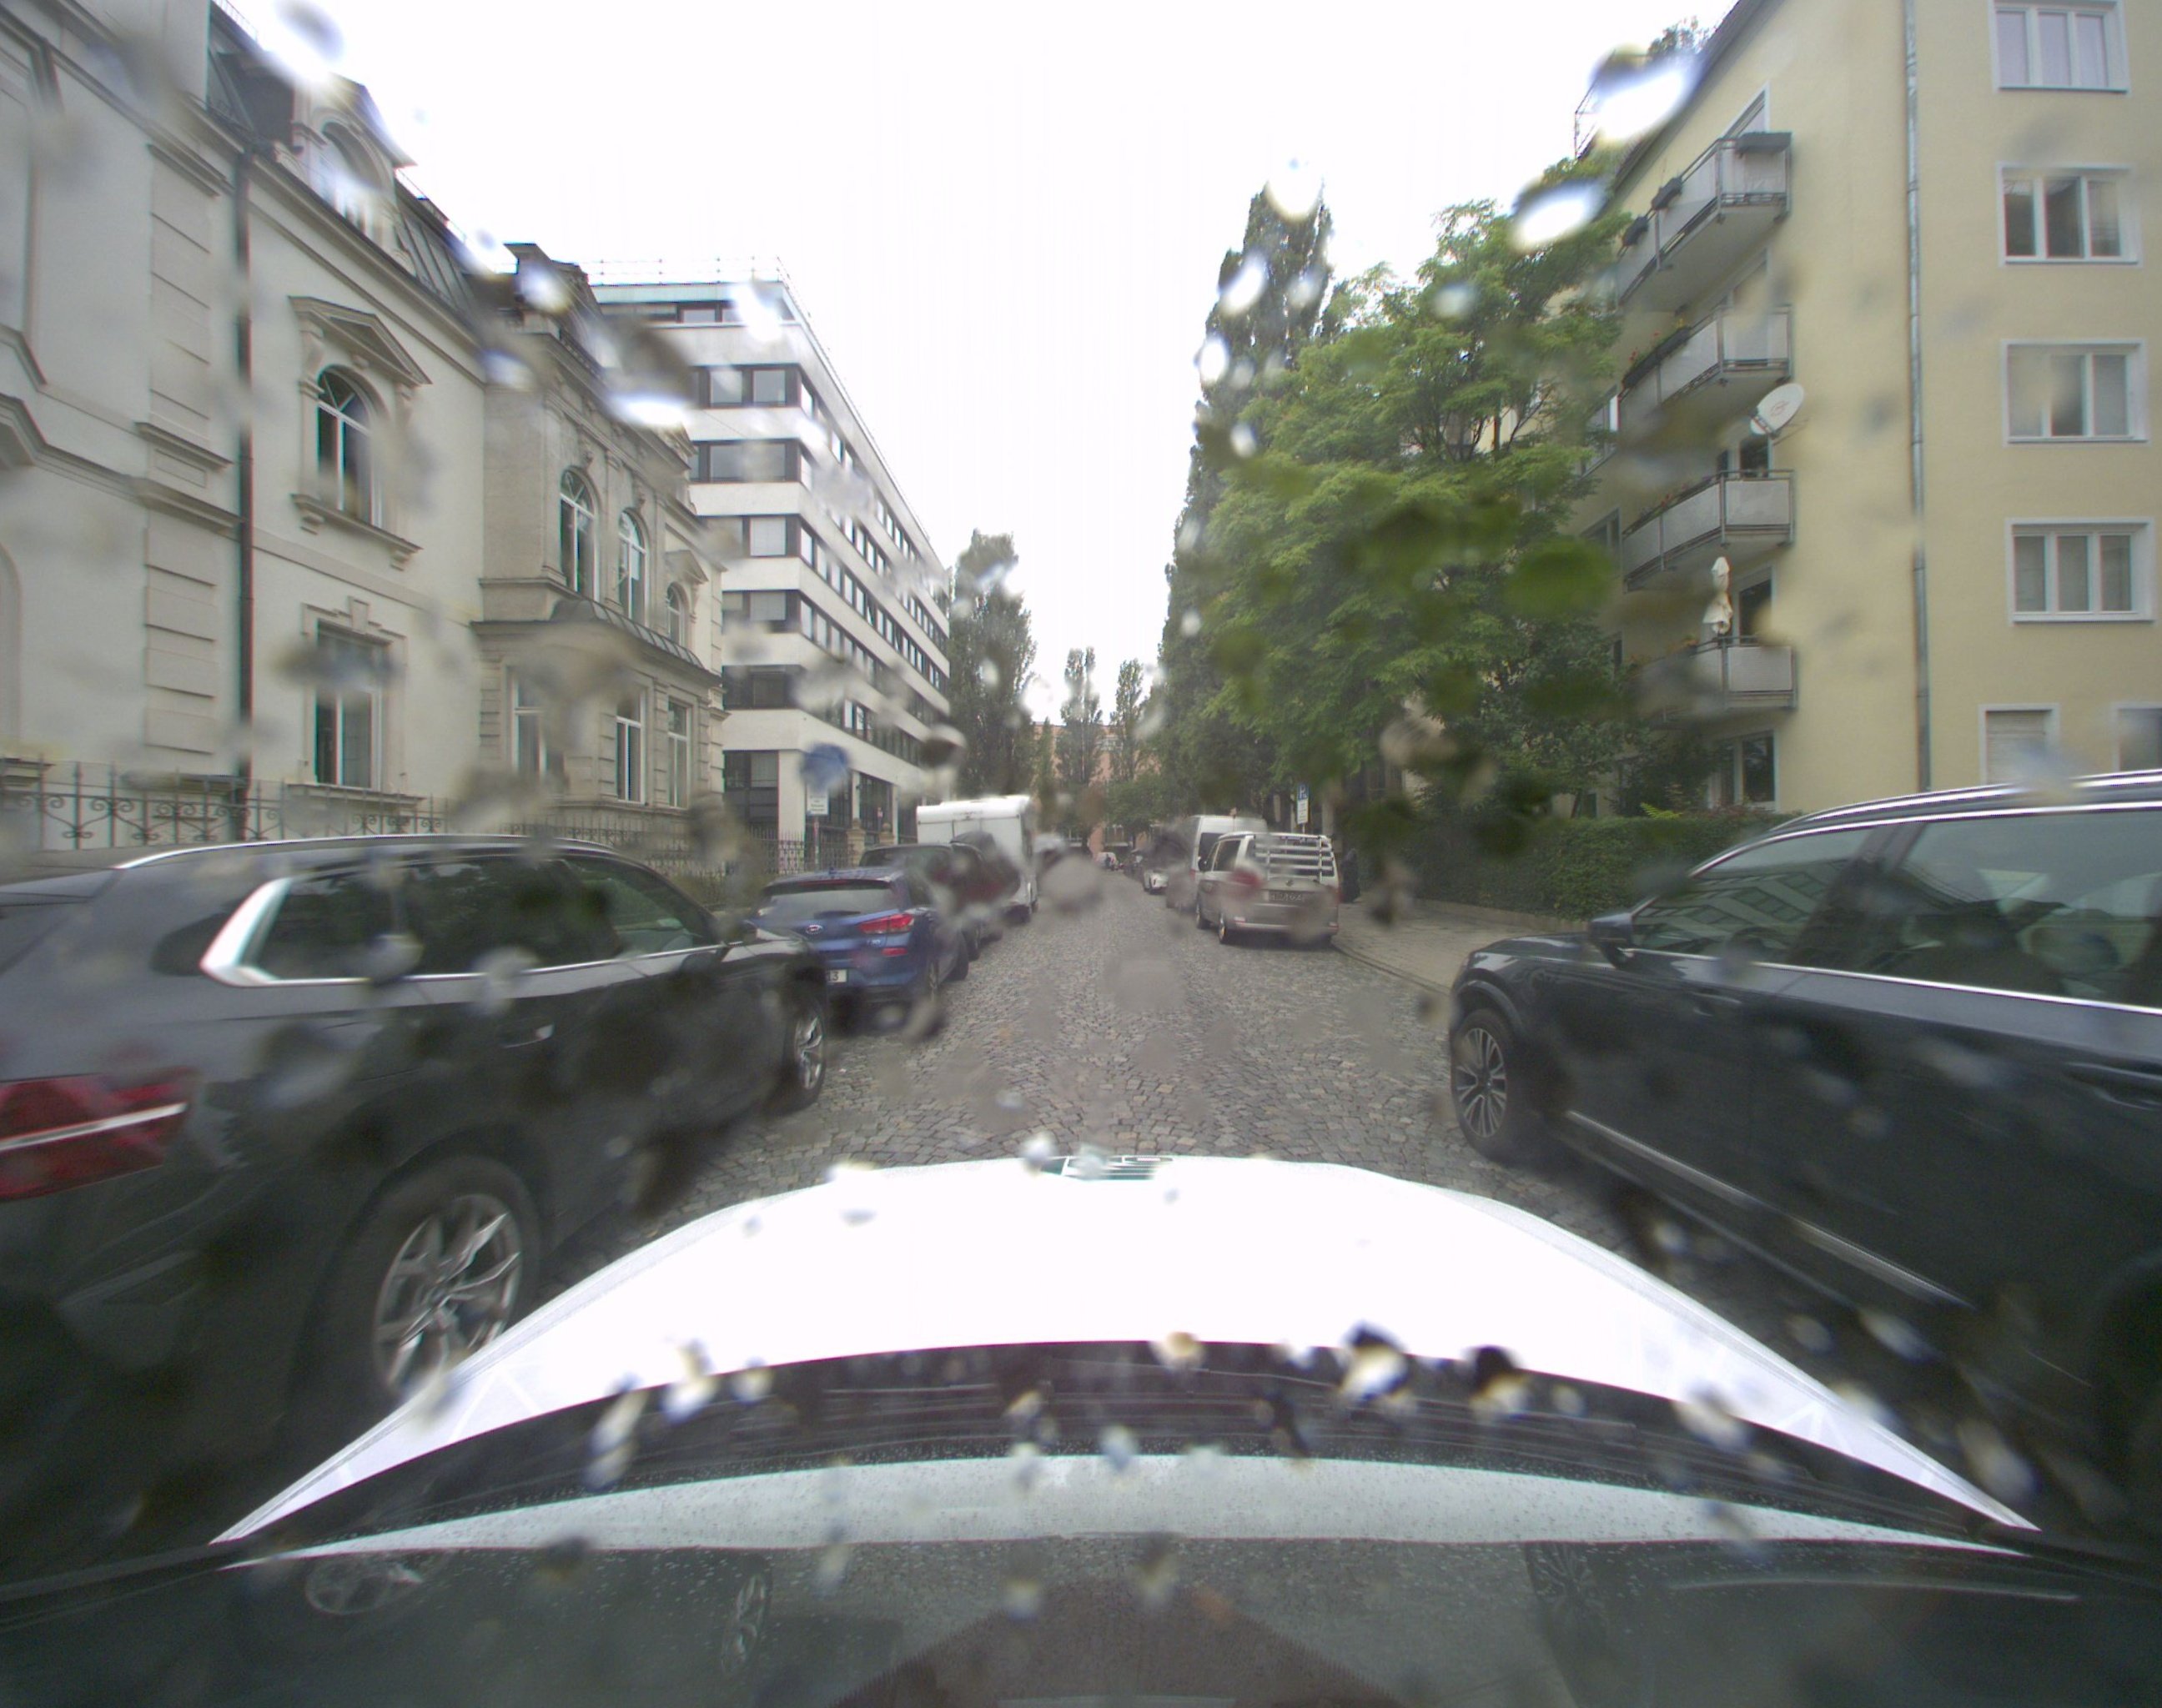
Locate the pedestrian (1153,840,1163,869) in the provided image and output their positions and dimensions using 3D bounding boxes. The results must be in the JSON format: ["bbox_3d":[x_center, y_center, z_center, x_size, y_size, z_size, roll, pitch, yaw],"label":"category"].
[{"bbox_3d":[6.400,0.037,67.869,0.708,2.425,0.814,-2,1,2],"label":"pedestrian"}]

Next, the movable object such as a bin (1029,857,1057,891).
[{"bbox_3d":[-1.571,0.822,33.647,1.060,1.363,1.290,0,-1,1],"label":"movable object such as a bin"}]

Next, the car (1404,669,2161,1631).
[{"bbox_3d":[2.969,0.553,2.617,1.956,1.759,4.954,0,-1,1],"label":"car"}]

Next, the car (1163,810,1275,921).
[{"bbox_3d":[3.406,0.244,21.256,1.888,2.426,5.611,3,0,0],"label":"car"}]

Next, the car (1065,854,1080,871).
[{"bbox_3d":[-0.776,0.805,74.502,1.272,1.541,3.119,0,-1,1],"label":"car"}]

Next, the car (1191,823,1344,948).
[{"bbox_3d":[3.340,0.527,15.568,1.794,1.949,4.860,2,-1,1],"label":"car"}]

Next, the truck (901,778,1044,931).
[{"bbox_3d":[-2.380,-0.004,19.920,2.500,3.031,6.384,-2,0,0],"label":"truck"}]

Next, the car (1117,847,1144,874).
[{"bbox_3d":[3.633,0.495,60.287,1.860,1.961,4.002,0,-1,3],"label":"car"}]

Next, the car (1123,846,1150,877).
[{"bbox_3d":[3.777,0.501,55.935,1.736,2.031,3.867,0,-1,3],"label":"car"}]

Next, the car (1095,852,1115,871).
[{"bbox_3d":[2.475,0.748,82.879,1.988,1.936,4.002,0,-1,2],"label":"car"}]

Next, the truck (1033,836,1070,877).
[{"bbox_3d":[-1.713,0.148,49.027,1.986,2.347,4.069,0,-1,1],"label":"truck"}]

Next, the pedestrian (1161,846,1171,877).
[{"bbox_3d":[6.053,0.554,57.974,0.708,2.191,0.814,0,-1,2],"label":"pedestrian"}]

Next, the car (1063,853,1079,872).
[{"bbox_3d":[-0.854,0.714,69.564,1.286,1.540,3.119,0,-1,1],"label":"car"}]

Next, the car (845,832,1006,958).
[{"bbox_3d":[-2.399,0.578,13.648,1.888,1.751,4.167,-1,0,0],"label":"car"}]

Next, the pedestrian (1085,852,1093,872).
[{"bbox_3d":[0.751,0.742,78.048,0.722,1.910,0.641,0,-1,3],"label":"pedestrian"}]

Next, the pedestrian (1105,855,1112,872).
[{"bbox_3d":[2.678,0.912,78.731,0.684,1.687,0.501,0,-1,3],"label":"pedestrian"}]

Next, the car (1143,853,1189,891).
[{"bbox_3d":[3.483,0.736,33.874,1.594,1.486,3.479,0,-1,1],"label":"car"}]

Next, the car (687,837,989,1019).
[{"bbox_3d":[-2.181,0.617,8.592,1.933,1.459,4.057,0,-1,0],"label":"car"}]

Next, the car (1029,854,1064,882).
[{"bbox_3d":[-1.852,0.763,44.607,1.656,1.455,3.548,0,-1,1],"label":"car"}]

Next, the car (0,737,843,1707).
[{"bbox_3d":[-2.538,0.629,3.389,1.768,1.717,4.391,0,1,0],"label":"car"}]
